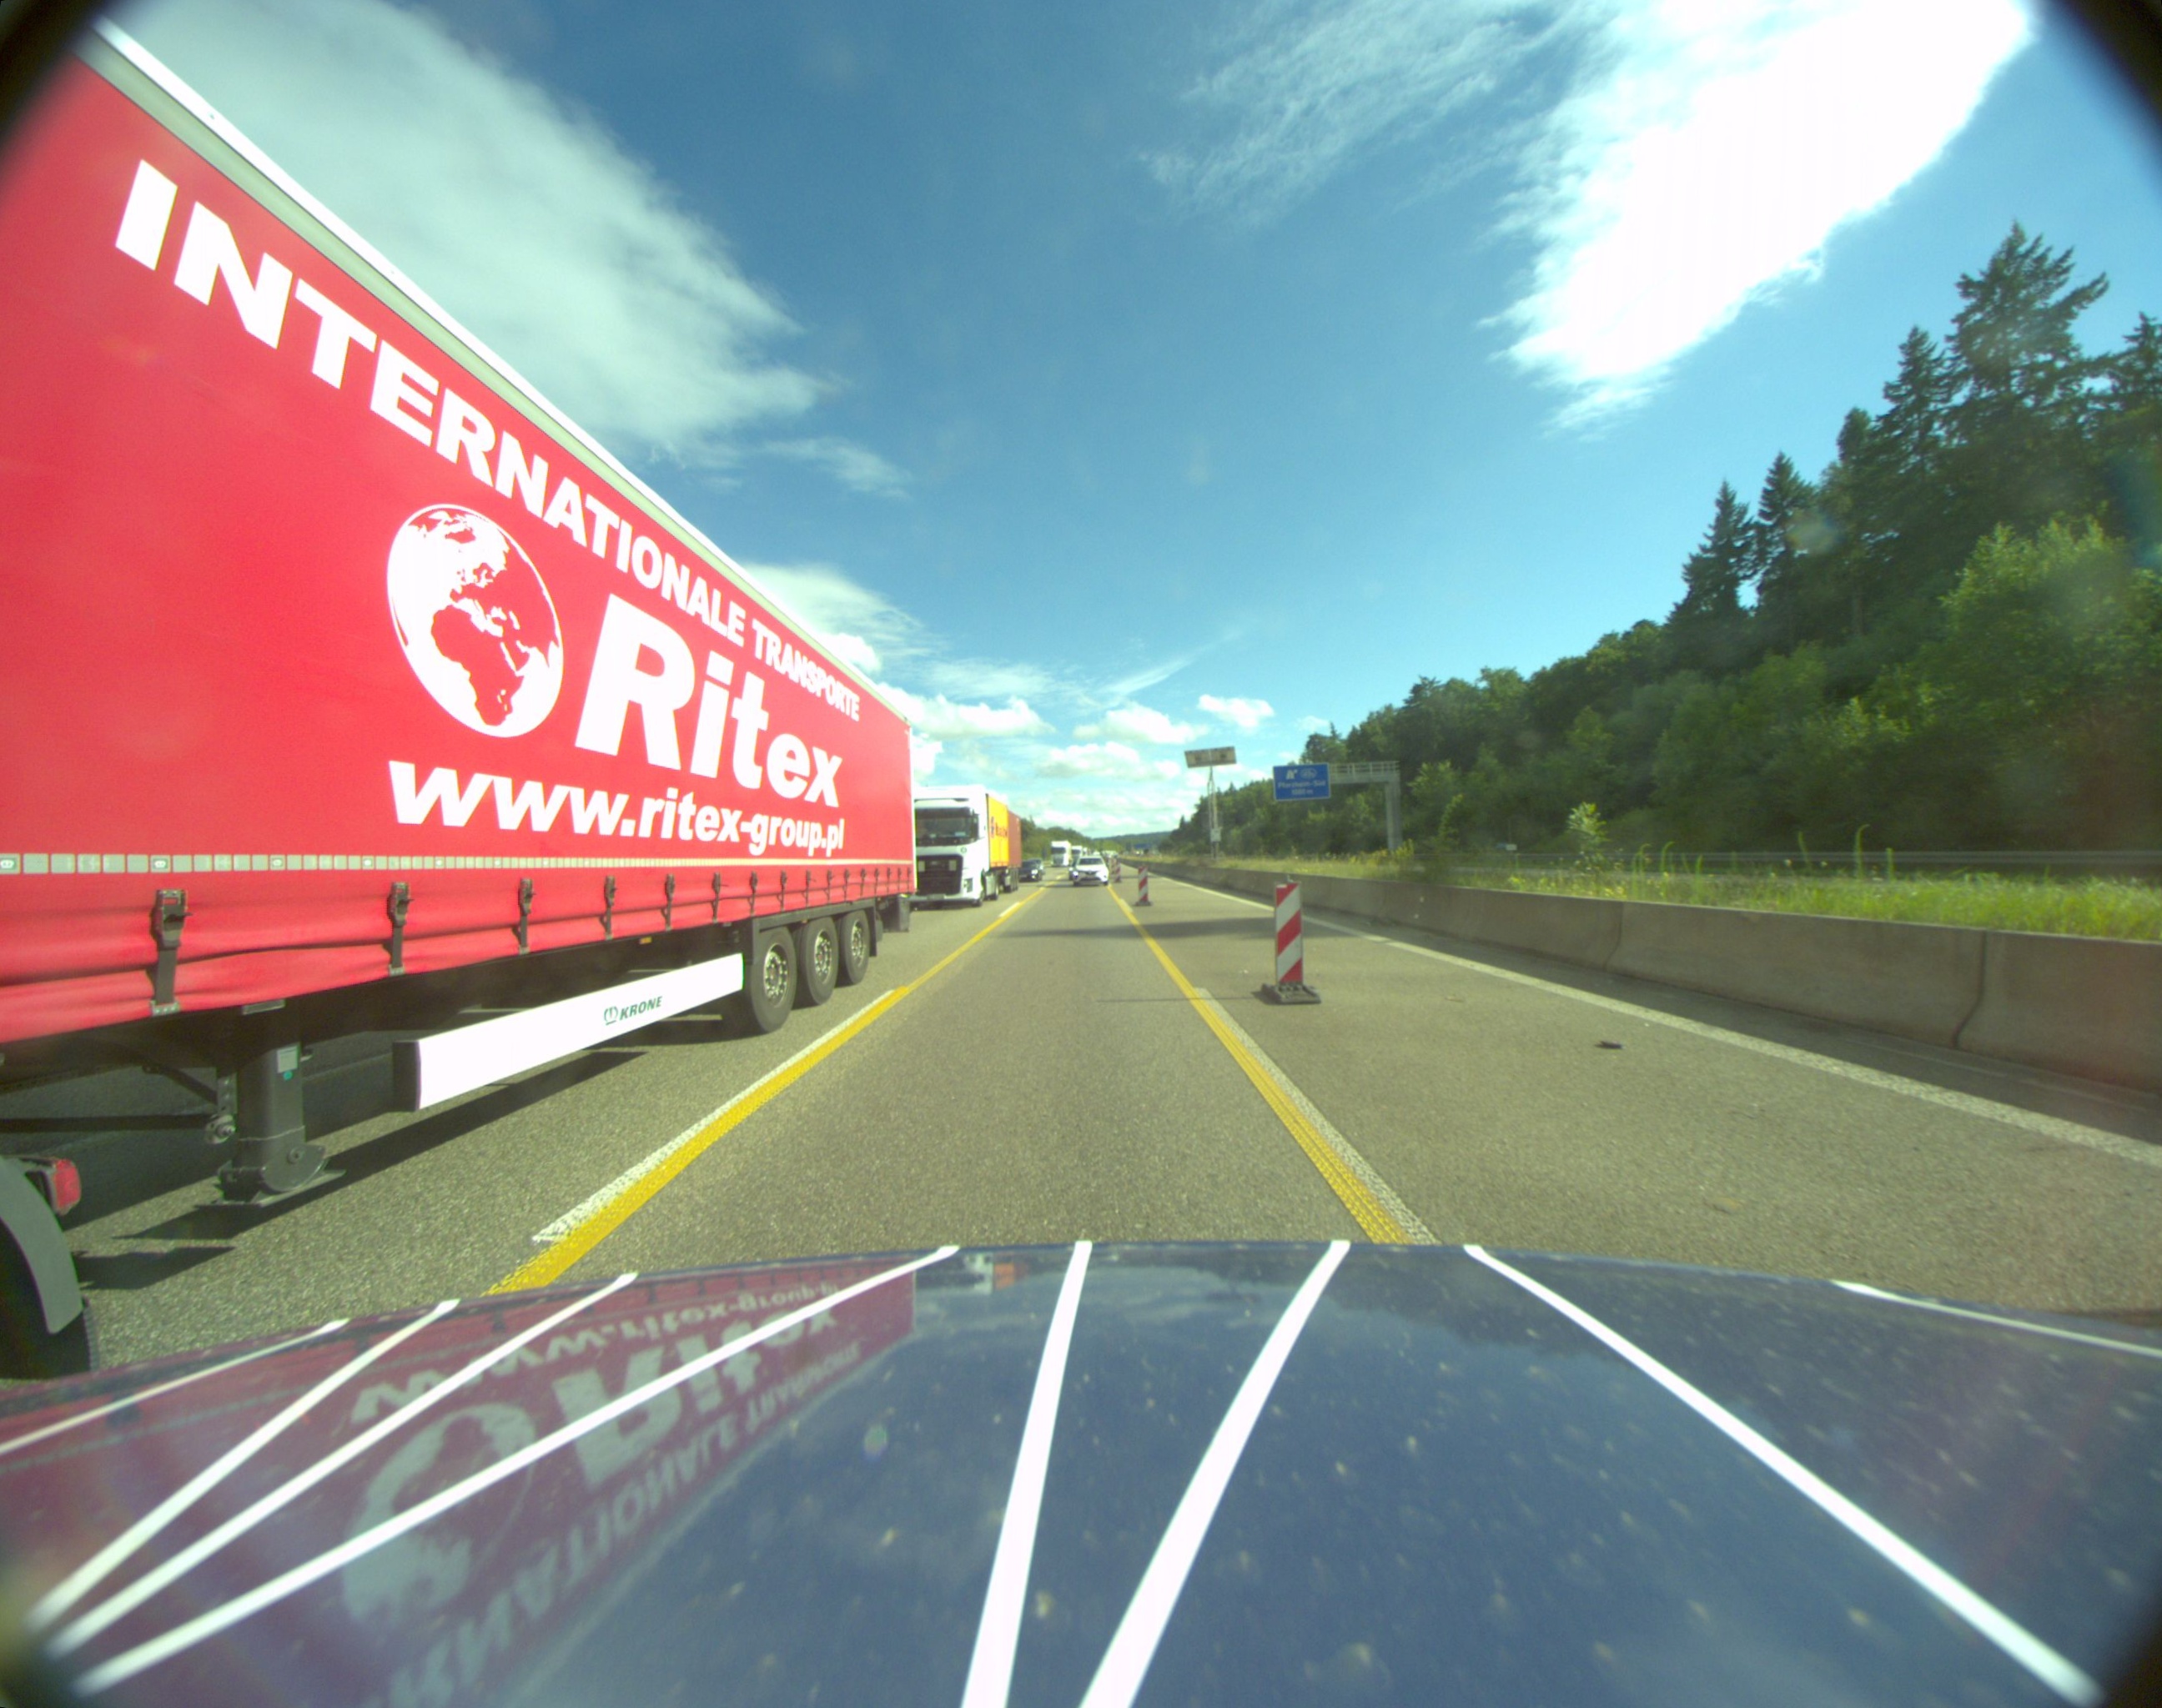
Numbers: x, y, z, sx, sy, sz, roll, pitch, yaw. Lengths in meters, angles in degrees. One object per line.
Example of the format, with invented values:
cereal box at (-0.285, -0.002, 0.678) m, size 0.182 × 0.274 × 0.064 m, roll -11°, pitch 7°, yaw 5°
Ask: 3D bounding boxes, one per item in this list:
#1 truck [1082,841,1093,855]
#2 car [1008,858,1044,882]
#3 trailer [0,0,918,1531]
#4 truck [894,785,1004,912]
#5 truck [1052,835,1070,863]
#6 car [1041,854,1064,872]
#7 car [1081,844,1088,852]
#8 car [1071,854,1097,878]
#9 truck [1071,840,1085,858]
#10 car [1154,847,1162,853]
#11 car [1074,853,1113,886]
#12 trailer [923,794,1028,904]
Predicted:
truck at (1.888, -1.751, 221.803) m, size 2.641 × 4.092 × 8.194 m, roll -3°, pitch 0°, yaw -1°
car at (-3.524, 1.002, 49.503) m, size 1.933 × 1.342 × 4.477 m, roll -2°, pitch 0°, yaw 1°
trailer at (-4.075, -0.285, 5.691) m, size 2.707 × 3.945 × 13.415 m, roll -2°, pitch 0°, yaw 0°
truck at (-4.291, -0.181, 25.943) m, size 2.501 × 3.759 × 5.789 m, roll -2°, pitch 1°, yaw 1°
truck at (-3.150, -0.786, 121.650) m, size 2.641 × 4.092 × 8.194 m, roll -2°, pitch 0°, yaw -1°
car at (-2.525, 0.816, 68.812) m, size 1.761 × 1.471 × 3.968 m, roll -1°, pitch 1°, yaw 2°
car at (1.091, -1.721, 221.175) m, size 1.998 × 2.188 × 3.999 m, roll -2°, pitch 1°, yaw 1°
car at (0.216, 0.800, 50.947) m, size 1.692 × 1.471 × 3.754 m, roll -2°, pitch 1°, yaw 1°
truck at (-0.648, -1.160, 183.290) m, size 2.640 × 4.092 × 8.196 m, roll -2°, pitch 0°, yaw 3°
car at (19.040, -0.990, 187.694) m, size 1.665 × 1.572 × 3.911 m, roll -2°, pitch 1°, yaw 0°
car at (0.600, 0.758, 39.820) m, size 1.840 × 1.528 × 3.882 m, roll -2°, pitch 1°, yaw -1°
trailer at (-4.149, -0.204, 32.834) m, size 2.477 × 3.753 × 12.135 m, roll -2°, pitch 0°, yaw 1°
